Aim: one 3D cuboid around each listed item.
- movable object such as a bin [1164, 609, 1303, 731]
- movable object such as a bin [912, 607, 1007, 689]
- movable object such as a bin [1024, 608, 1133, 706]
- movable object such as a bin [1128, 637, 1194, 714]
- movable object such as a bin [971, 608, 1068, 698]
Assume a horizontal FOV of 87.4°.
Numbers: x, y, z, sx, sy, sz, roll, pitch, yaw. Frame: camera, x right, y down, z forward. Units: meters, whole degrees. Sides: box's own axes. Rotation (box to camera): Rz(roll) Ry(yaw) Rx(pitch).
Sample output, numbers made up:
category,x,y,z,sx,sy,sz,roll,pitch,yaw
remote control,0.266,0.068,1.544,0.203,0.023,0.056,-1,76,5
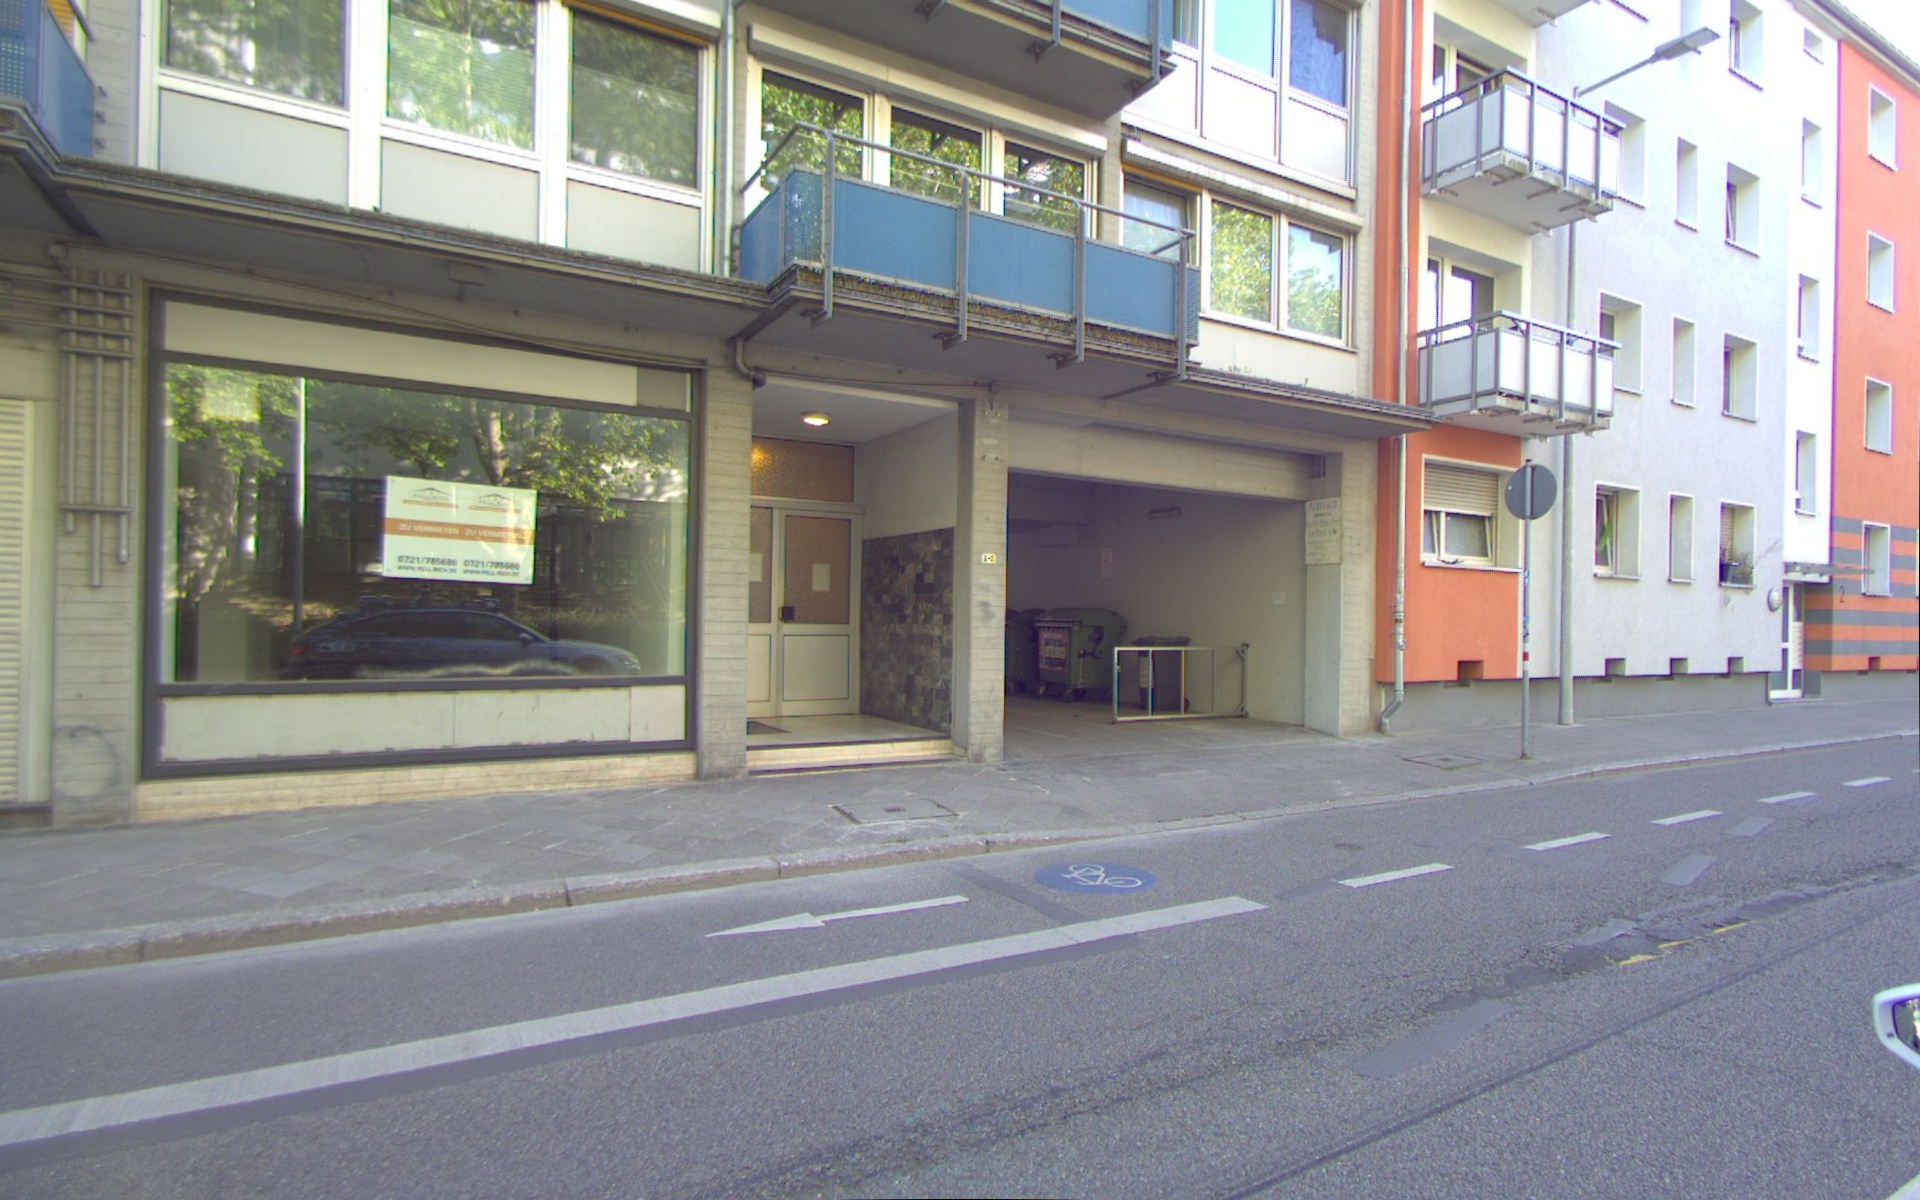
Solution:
category,x,y,z,sx,sy,sz,roll,pitch,yaw
movable object such as a bin,3.493,0.855,12.909,1.119,1.449,1.322,1,0,-28
movable object such as a bin,-0.027,0.871,18.883,1.119,1.449,1.666,1,-1,-28
movable object such as a bin,1.852,0.867,15.857,1.128,1.449,1.342,1,0,-28
movable object such as a bin,2.902,1.080,14.539,0.695,1.055,0.593,2,0,-30
movable object such as a bin,1.001,0.873,17.180,1.119,1.449,1.322,1,0,-28
